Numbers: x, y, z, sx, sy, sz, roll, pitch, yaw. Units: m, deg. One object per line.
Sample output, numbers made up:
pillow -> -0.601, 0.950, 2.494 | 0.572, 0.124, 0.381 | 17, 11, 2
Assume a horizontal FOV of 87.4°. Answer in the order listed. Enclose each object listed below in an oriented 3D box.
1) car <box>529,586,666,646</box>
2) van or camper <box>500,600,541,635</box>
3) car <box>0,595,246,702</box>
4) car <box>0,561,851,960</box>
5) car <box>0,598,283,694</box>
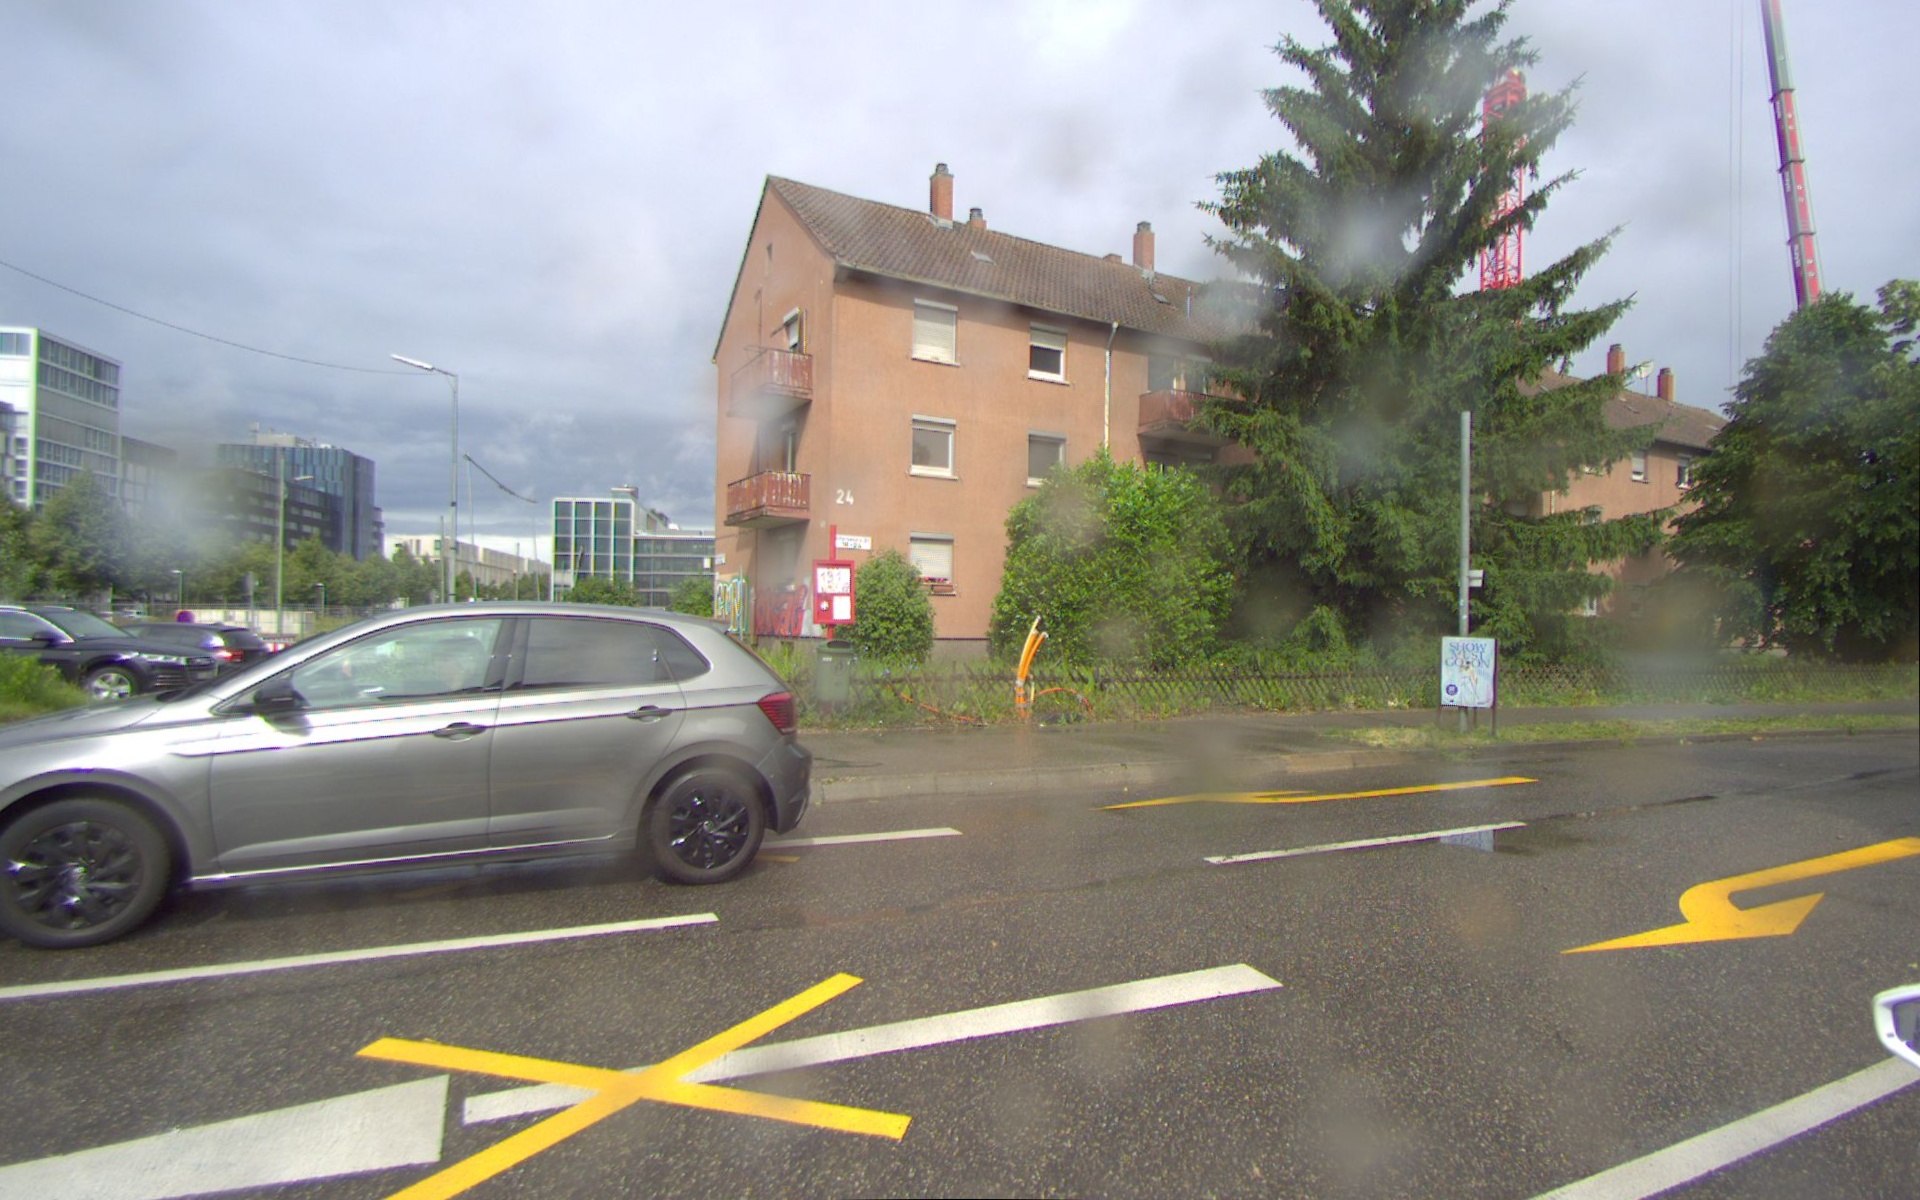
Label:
car -> -12.930, 0.584, 36.013 | 4.238, 2.045, 1.716 | 1, -1, -3
van or camper -> -31.306, 1.233, 71.722 | 1.967, 2.341, 4.869 | 1, -1, -15
car -> -14.472, 0.765, 16.343 | 4.259, 1.639, 1.753 | 2, -1, -19
car -> -2.634, 0.668, 5.322 | 3.744, 1.528, 1.674 | 2, -2, -27
car -> -15.215, 0.830, 18.472 | 4.192, 1.639, 1.753 | 2, -1, -19
